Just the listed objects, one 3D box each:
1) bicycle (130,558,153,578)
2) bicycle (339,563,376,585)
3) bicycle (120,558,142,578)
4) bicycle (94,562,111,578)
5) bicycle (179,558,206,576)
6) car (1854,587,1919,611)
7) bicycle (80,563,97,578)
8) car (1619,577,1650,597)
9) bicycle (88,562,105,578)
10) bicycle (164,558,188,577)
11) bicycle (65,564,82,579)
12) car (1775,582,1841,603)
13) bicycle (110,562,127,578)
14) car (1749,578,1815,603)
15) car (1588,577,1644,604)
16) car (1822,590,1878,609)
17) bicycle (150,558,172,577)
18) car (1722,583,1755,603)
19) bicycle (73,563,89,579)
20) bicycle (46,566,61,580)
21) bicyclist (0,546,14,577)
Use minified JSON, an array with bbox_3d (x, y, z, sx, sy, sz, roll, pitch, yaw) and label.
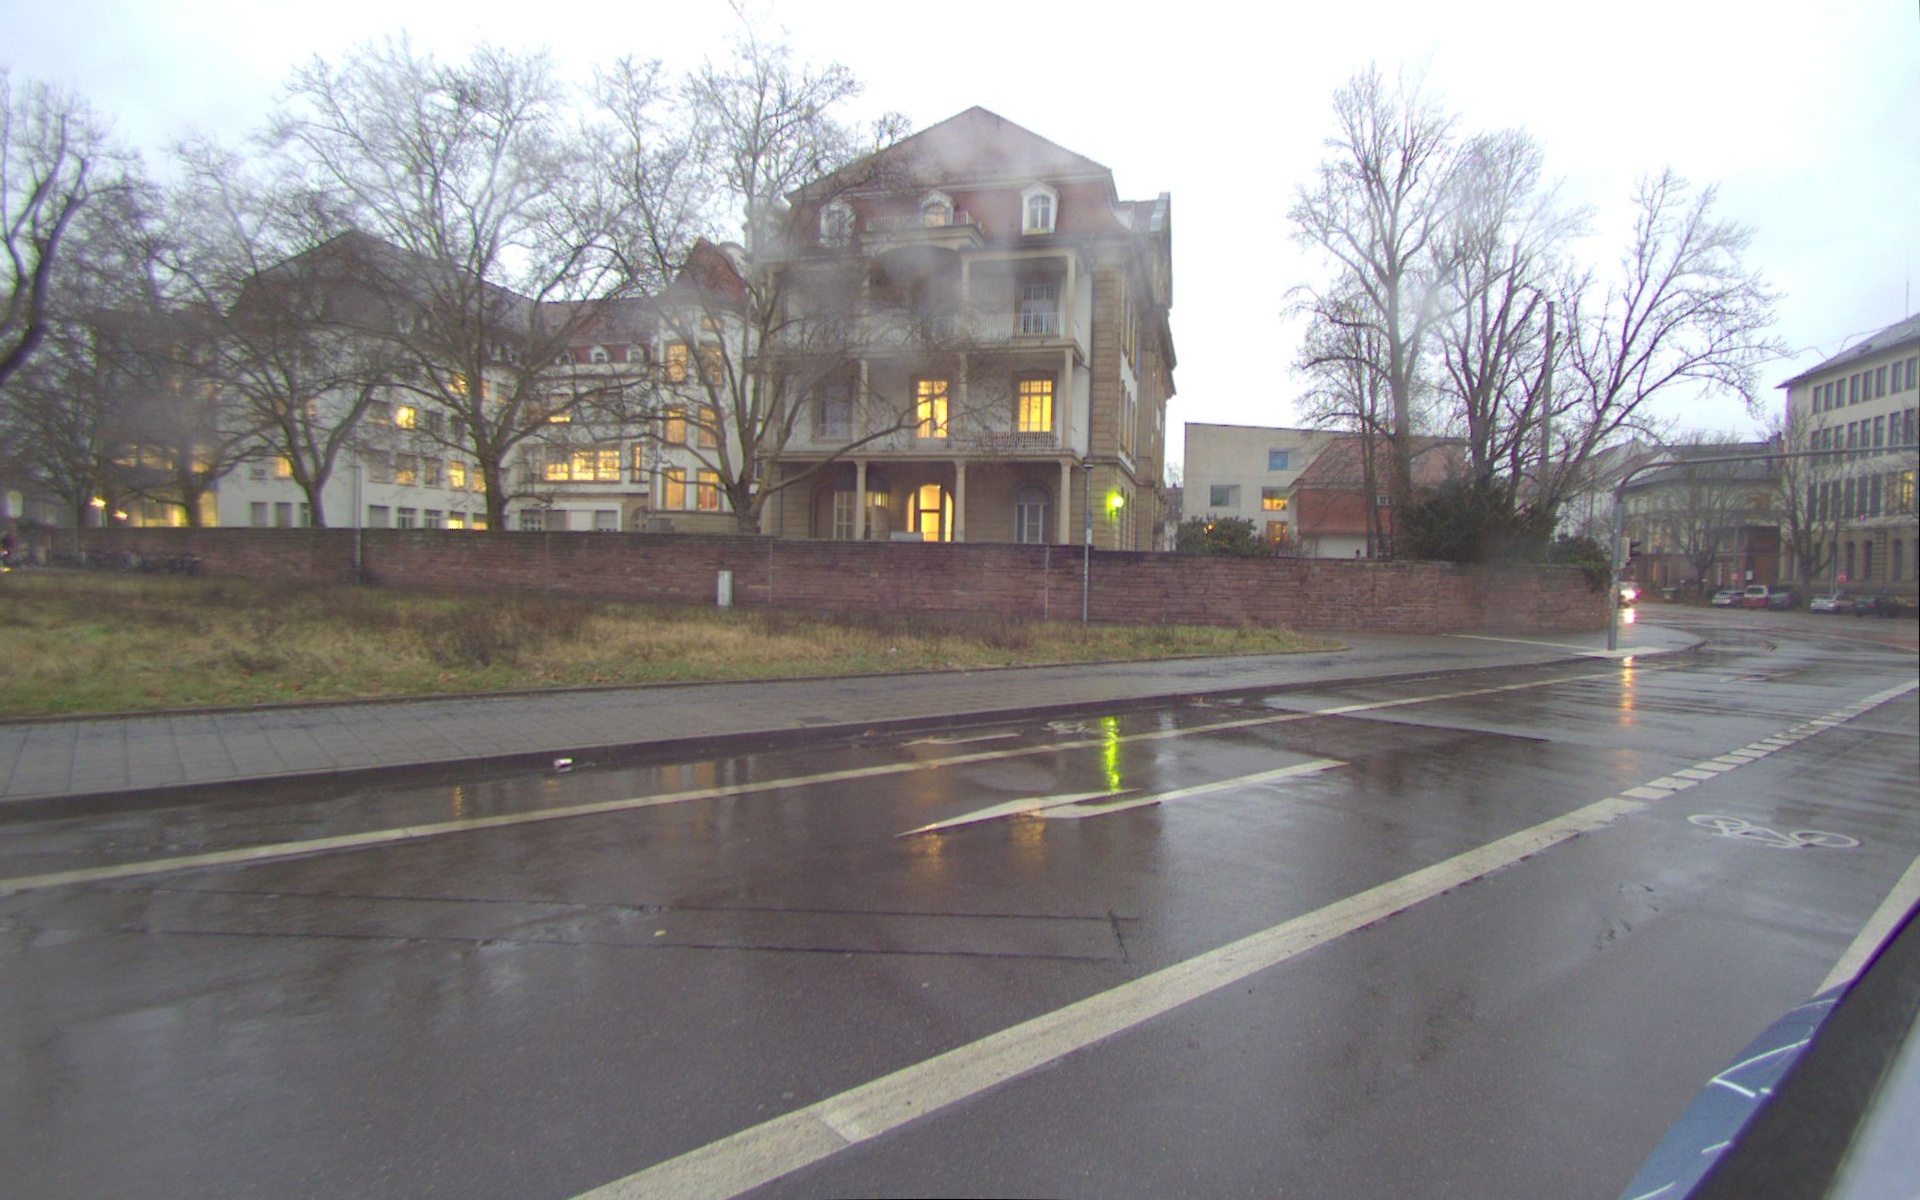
[{"bbox_3d":[-38.628,-1.504,47.772,1.519,0.869,0.389,0,0,33],"label":"bicycle"},{"bbox_3d":[-23.386,-0.986,39.275,1.366,0.835,0.392,0,0,14],"label":"bicycle"},{"bbox_3d":[-39.910,-1.536,48.725,1.519,0.928,0.389,0,0,33],"label":"bicycle"},{"bbox_3d":[-43.133,-1.492,50.900,1.522,0.796,0.389,0,0,38],"label":"bicycle"},{"bbox_3d":[-34.212,-1.466,45.114,1.399,0.796,0.355,0,0,26],"label":"bicycle"},{"bbox_3d":[61.957,-0.052,66.916,3.927,1.570,1.800,0,0,4],"label":"car"},{"bbox_3d":[-45.443,-1.529,52.745,1.522,0.796,0.389,0,0,38],"label":"bicycle"},{"bbox_3d":[62.830,-1.197,94.298,1.866,1.868,3.963,0,0,27],"label":"car"},{"bbox_3d":[-44.180,-1.526,51.772,1.522,0.796,0.389,0,0,38],"label":"bicycle"},{"bbox_3d":[-35.552,-1.466,45.863,1.519,0.796,0.389,0,0,33],"label":"bicycle"},{"bbox_3d":[-47.897,-1.534,54.678,1.522,0.796,0.389,0,0,38],"label":"bicycle"},{"bbox_3d":[64.699,-0.576,77.227,3.916,1.570,1.805,0,0,-13],"label":"car"},{"bbox_3d":[-41.476,-1.473,49.880,1.599,0.796,0.388,0,0,41],"label":"bicycle"},{"bbox_3d":[64.980,-0.781,80.024,3.916,1.924,2.052,0,0,-13],"label":"car"},{"bbox_3d":[50.215,-0.726,77.564,1.969,2.039,4.874,0,0,12],"label":"car"},{"bbox_3d":[63.601,-0.073,72.301,3.568,1.322,1.712,-1,0,-25],"label":"car"},{"bbox_3d":[-37.032,-1.494,46.889,1.480,0.849,0.346,0,0,32],"label":"bicycle"},{"bbox_3d":[66.480,-0.633,86.389,1.992,1.690,3.940,0,0,42],"label":"car"},{"bbox_3d":[-46.674,-1.531,53.723,1.522,0.796,0.389,0,0,38],"label":"bicycle"},{"bbox_3d":[-51.611,-1.542,57.597,1.522,0.796,0.389,0,0,38],"label":"bicycle"},{"bbox_3d":[-52.568,-2.115,55.755,0.450,1.662,0.603,0,0,37],"label":"bicyclist"}]
